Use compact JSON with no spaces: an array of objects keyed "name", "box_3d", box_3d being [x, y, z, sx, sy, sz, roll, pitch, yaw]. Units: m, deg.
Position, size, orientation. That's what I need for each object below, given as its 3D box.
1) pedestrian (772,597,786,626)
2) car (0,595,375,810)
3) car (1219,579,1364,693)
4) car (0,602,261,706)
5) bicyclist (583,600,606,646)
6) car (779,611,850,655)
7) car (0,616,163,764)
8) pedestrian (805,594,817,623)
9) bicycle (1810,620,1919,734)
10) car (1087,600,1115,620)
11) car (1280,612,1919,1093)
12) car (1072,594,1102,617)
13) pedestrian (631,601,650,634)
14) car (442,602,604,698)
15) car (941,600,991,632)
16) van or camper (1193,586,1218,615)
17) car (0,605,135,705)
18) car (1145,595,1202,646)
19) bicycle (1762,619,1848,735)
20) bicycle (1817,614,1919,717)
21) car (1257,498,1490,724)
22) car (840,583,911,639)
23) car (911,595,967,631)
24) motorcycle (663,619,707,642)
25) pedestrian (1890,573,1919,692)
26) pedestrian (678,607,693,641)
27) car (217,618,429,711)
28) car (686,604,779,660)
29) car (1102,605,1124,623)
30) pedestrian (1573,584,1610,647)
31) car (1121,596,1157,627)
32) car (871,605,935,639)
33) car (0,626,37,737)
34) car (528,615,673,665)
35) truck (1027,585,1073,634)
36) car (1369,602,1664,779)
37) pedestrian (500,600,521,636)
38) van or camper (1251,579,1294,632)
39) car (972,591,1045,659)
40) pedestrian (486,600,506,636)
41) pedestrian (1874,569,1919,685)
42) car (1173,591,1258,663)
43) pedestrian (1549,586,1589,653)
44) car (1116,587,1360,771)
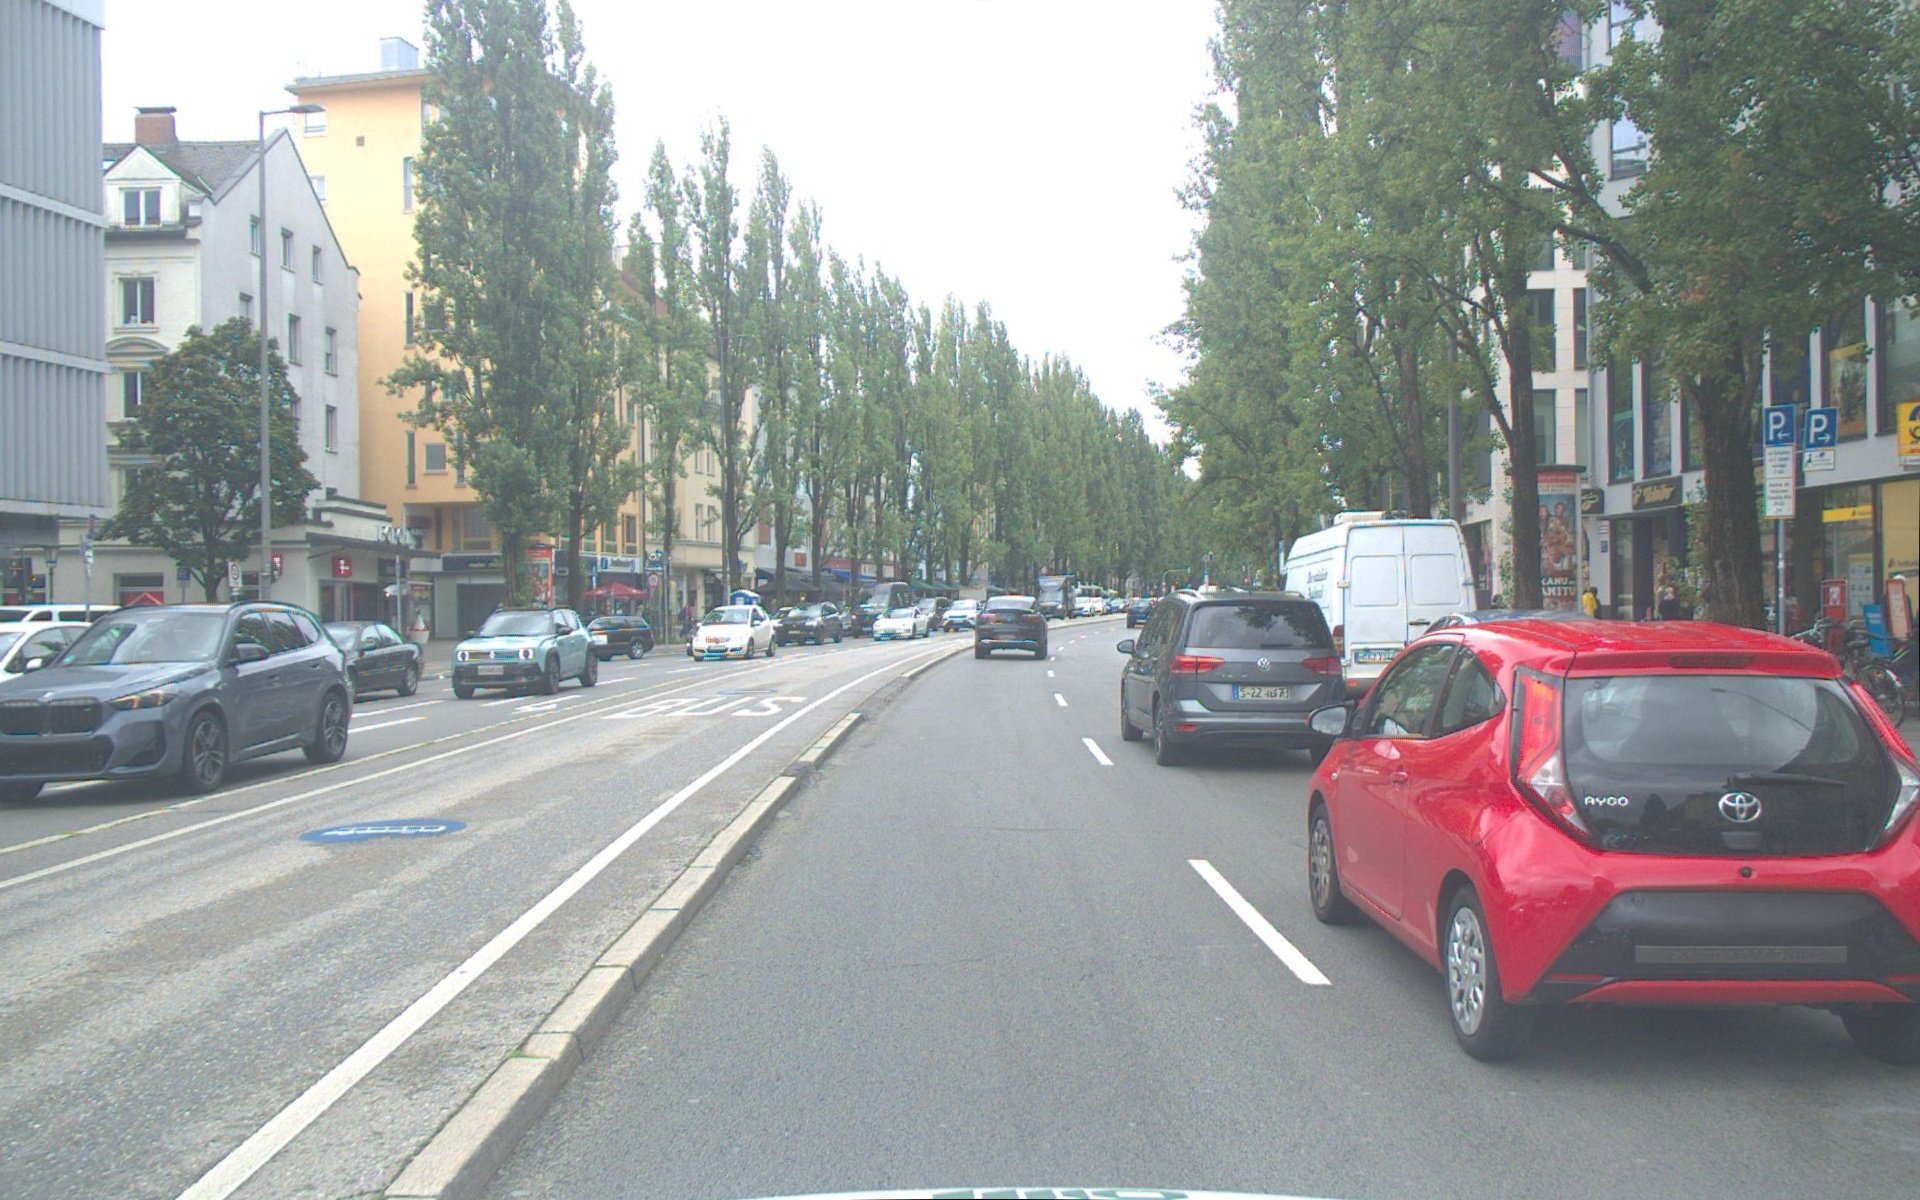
[{"name":"pedestrian","box_3d":[-10.967,0.683,100.308,0.624,1.729,0.648,-1,0,12]},{"name":"car","box_3d":[-7.225,0.827,15.267,1.952,1.649,4.414,-2,0,1]},{"name":"car","box_3d":[5.794,0.597,29.455,1.888,1.836,4.782,1,0,4]},{"name":"car","box_3d":[-14.082,0.847,27.585,1.817,1.495,4.986,-3,0,13]},{"name":"bicyclist","box_3d":[-13.035,0.832,59.033,0.491,1.620,0.835,-1,0,12]},{"name":"car","box_3d":[-6.151,1.375,70.379,1.975,1.746,4.986,-1,0,7]},{"name":"car","box_3d":[-11.682,1.051,19.928,1.952,1.628,4.290,-1,0,2]},{"name":"pedestrian","box_3d":[-9.726,0.576,108.093,0.624,1.894,0.648,-1,0,12]},{"name":"bicycle","box_3d":[10.086,0.826,18.346,0.468,1.180,1.633,0,0,0]},{"name":"car","box_3d":[12.198,0.882,143.127,1.898,1.671,4.467,-2,0,11]},{"name":"car","box_3d":[2.511,0.805,6.905,1.631,1.471,3.595,1,-1,0]},{"name":"car","box_3d":[10.270,0.432,133.968,1.820,1.741,4.540,-2,0,11]},{"name":"pedestrian","box_3d":[-15.597,0.830,80.804,0.620,1.589,0.816,-1,0,13]},{"name":"car","box_3d":[-8.031,0.879,30.748,1.780,1.572,4.001,-3,0,2]},{"name":"car","box_3d":[0.355,0.821,88.008,1.869,1.631,4.359,-1,0,10]},{"name":"van or camper","box_3d":[22.335,0.049,150.152,1.991,2.519,4.003,-1,-2,12]},{"name":"car","box_3d":[-20.513,1.163,36.042,1.951,2.049,5.116,-1,0,8]},{"name":"car","box_3d":[7.482,0.722,57.964,1.884,1.730,4.653,0,-1,8]},{"name":"bicycle","box_3d":[9.207,0.808,18.068,0.467,1.180,1.826,0,0,15]},{"name":"bicycle","box_3d":[11.012,0.757,19.379,1.593,1.180,0.705,0,0,12]},{"name":"car","box_3d":[5.635,0.173,23.292,1.952,2.790,5.555,1,-1,1]},{"name":"car","box_3d":[-4.168,0.511,82.625,2.123,2.651,6.069,-1,0,10]},{"name":"car","box_3d":[-1.151,0.731,93.751,1.951,1.896,5.716,-3,-1,11]},{"name":"motorcycle","box_3d":[-12.923,1.418,77.752,2.017,1.054,0.485,1,-1,-9]},{"name":"pedestrian","box_3d":[13.824,0.454,23.303,0.784,1.665,1.022,-1,0,-5]},{"name":"pedestrian","box_3d":[-14.232,1.241,85.833,0.527,1.777,0.756,0,0,12]},{"name":"car","box_3d":[-11.123,1.077,29.256,1.693,1.433,4.690,-1,0,3]},{"name":"car","box_3d":[-6.879,0.940,50.337,1.912,1.617,4.002,-1,0,5]},{"name":"car","box_3d":[14.694,1.358,158.640,1.631,1.624,4.003,0,-1,11]},{"name":"pedestrian","box_3d":[16.404,0.410,42.939,0.555,1.603,0.672,-1,-1,-24]},{"name":"car","box_3d":[9.999,0.645,92.262,1.721,1.648,3.750,0,-1,10]},{"name":"car","box_3d":[-2.514,0.954,74.061,1.761,1.419,4.694,-1,0,11]},{"name":"car","box_3d":[-14.898,1.201,22.160,1.936,1.579,5.088,-1,0,4]},{"name":"car","box_3d":[-11.734,1.300,54.221,1.890,1.464,4.488,-2,0,37]},{"name":"truck","box_3d":[6.604,0.648,120.104,2.242,3.381,7.163,-2,0,11]},{"name":"car","box_3d":[5.299,0.781,16.309,1.689,1.479,4.149,1,0,3]},{"name":"pedestrian","box_3d":[-18.641,0.754,68.596,0.619,1.460,0.778,-1,0,-2]},{"name":"van or camper","box_3d":[19.775,0.340,104.486,2.408,3.166,4.719,-2,0,13]},{"name":"car","box_3d":[1.316,0.634,44.227,1.841,1.670,4.584,-1,0,2]},{"name":"pedestrian","box_3d":[-19.248,0.748,68.614,0.619,1.460,0.778,-1,0,-2]},{"name":"pedestrian","box_3d":[14.633,0.412,25.611,0.707,1.755,0.737,-2,-1,36]},{"name":"car","box_3d":[6.407,0.646,41.853,1.691,1.716,4.410,0,0,3]},{"name":"pedestrian","box_3d":[14.674,0.454,39.840,0.668,1.585,0.750,-1,0,1]},{"name":"car","box_3d":[2.684,0.711,16.886,1.725,1.642,4.182,0,0,-1]}]
